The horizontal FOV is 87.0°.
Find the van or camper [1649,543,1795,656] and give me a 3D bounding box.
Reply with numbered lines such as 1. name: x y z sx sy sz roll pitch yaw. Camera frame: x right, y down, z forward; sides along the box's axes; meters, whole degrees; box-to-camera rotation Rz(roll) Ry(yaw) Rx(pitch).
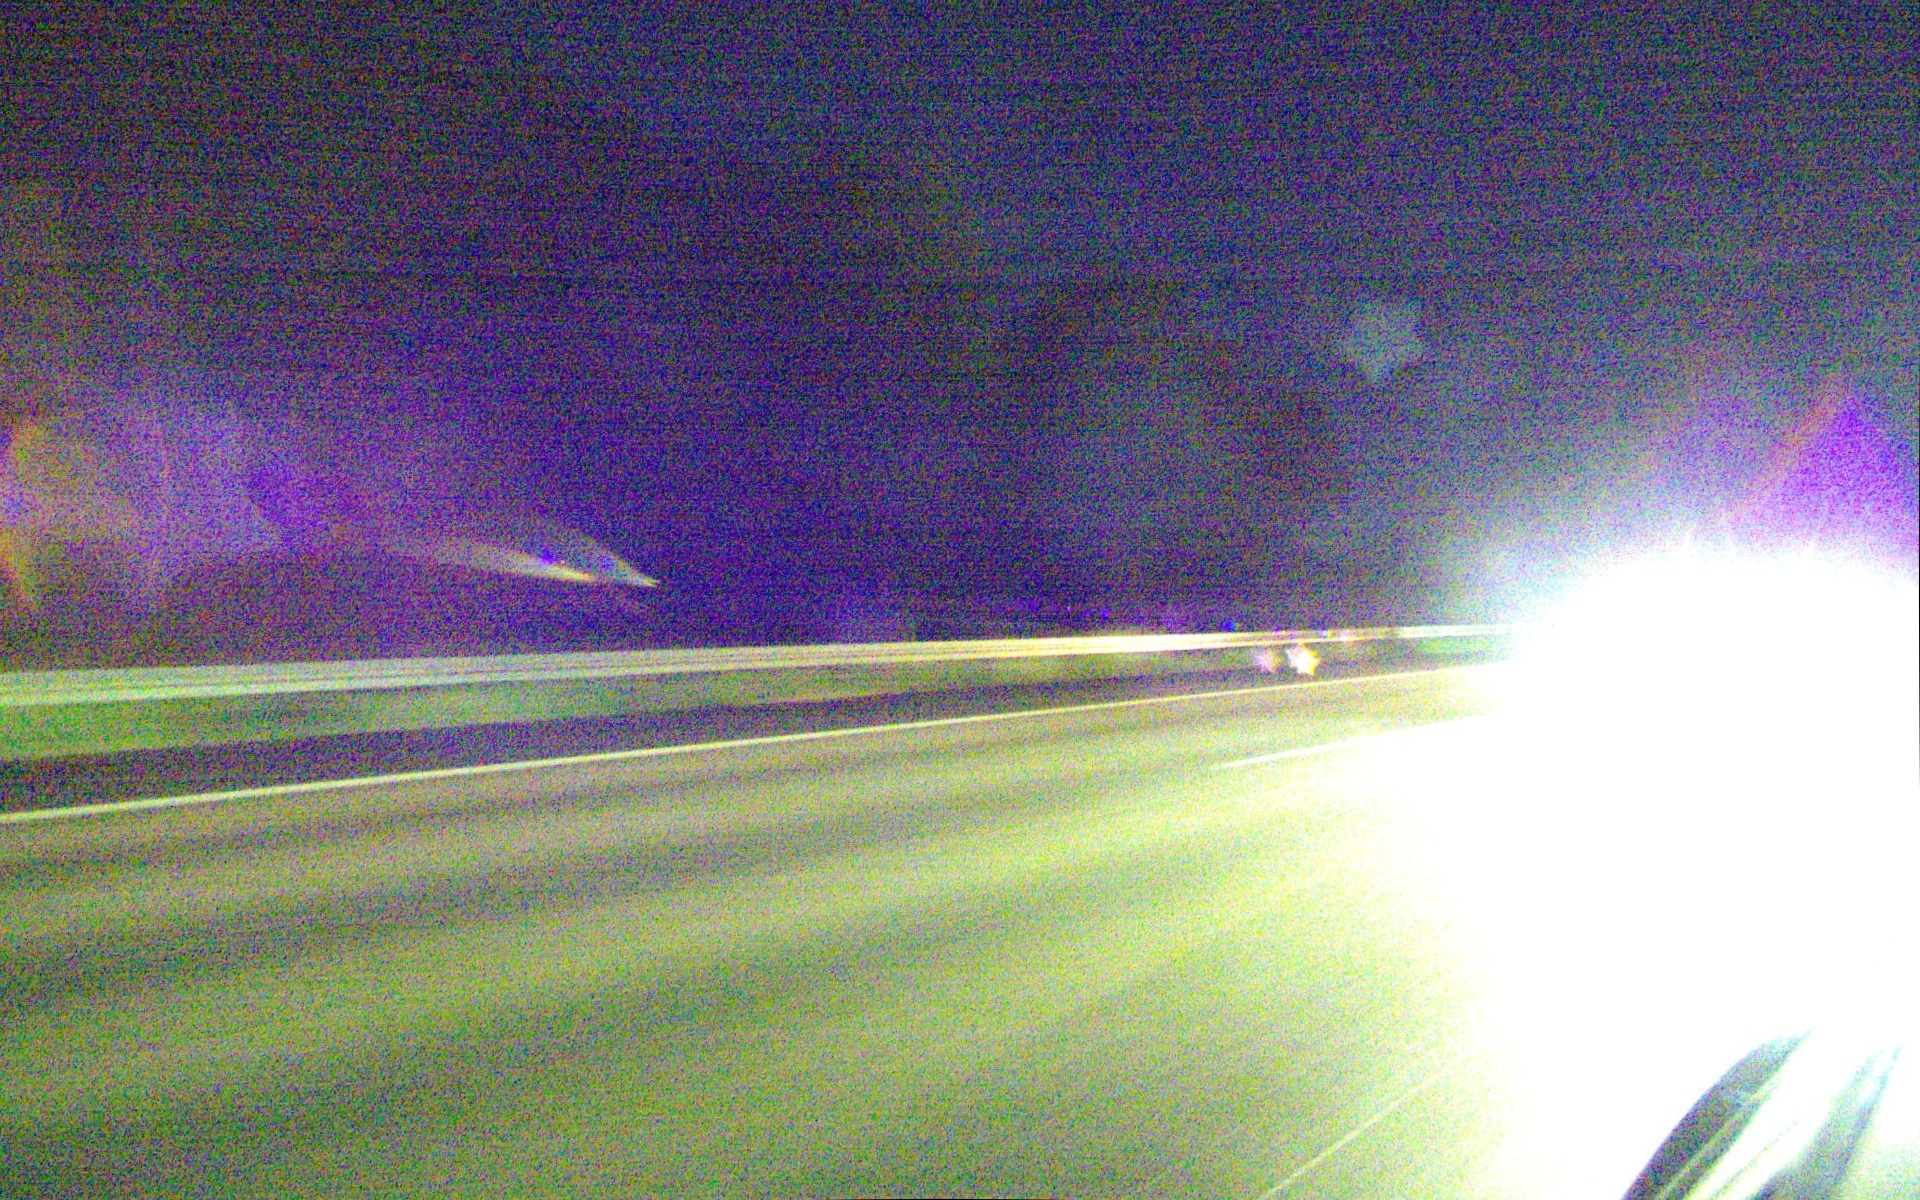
1. van or camper: 21.449 -0.031 28.335 6.690 2.806 2.209 0 0 -44

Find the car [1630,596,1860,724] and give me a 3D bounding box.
1. car: 10.659 0.687 13.628 4.152 1.431 1.689 0 1 -41
